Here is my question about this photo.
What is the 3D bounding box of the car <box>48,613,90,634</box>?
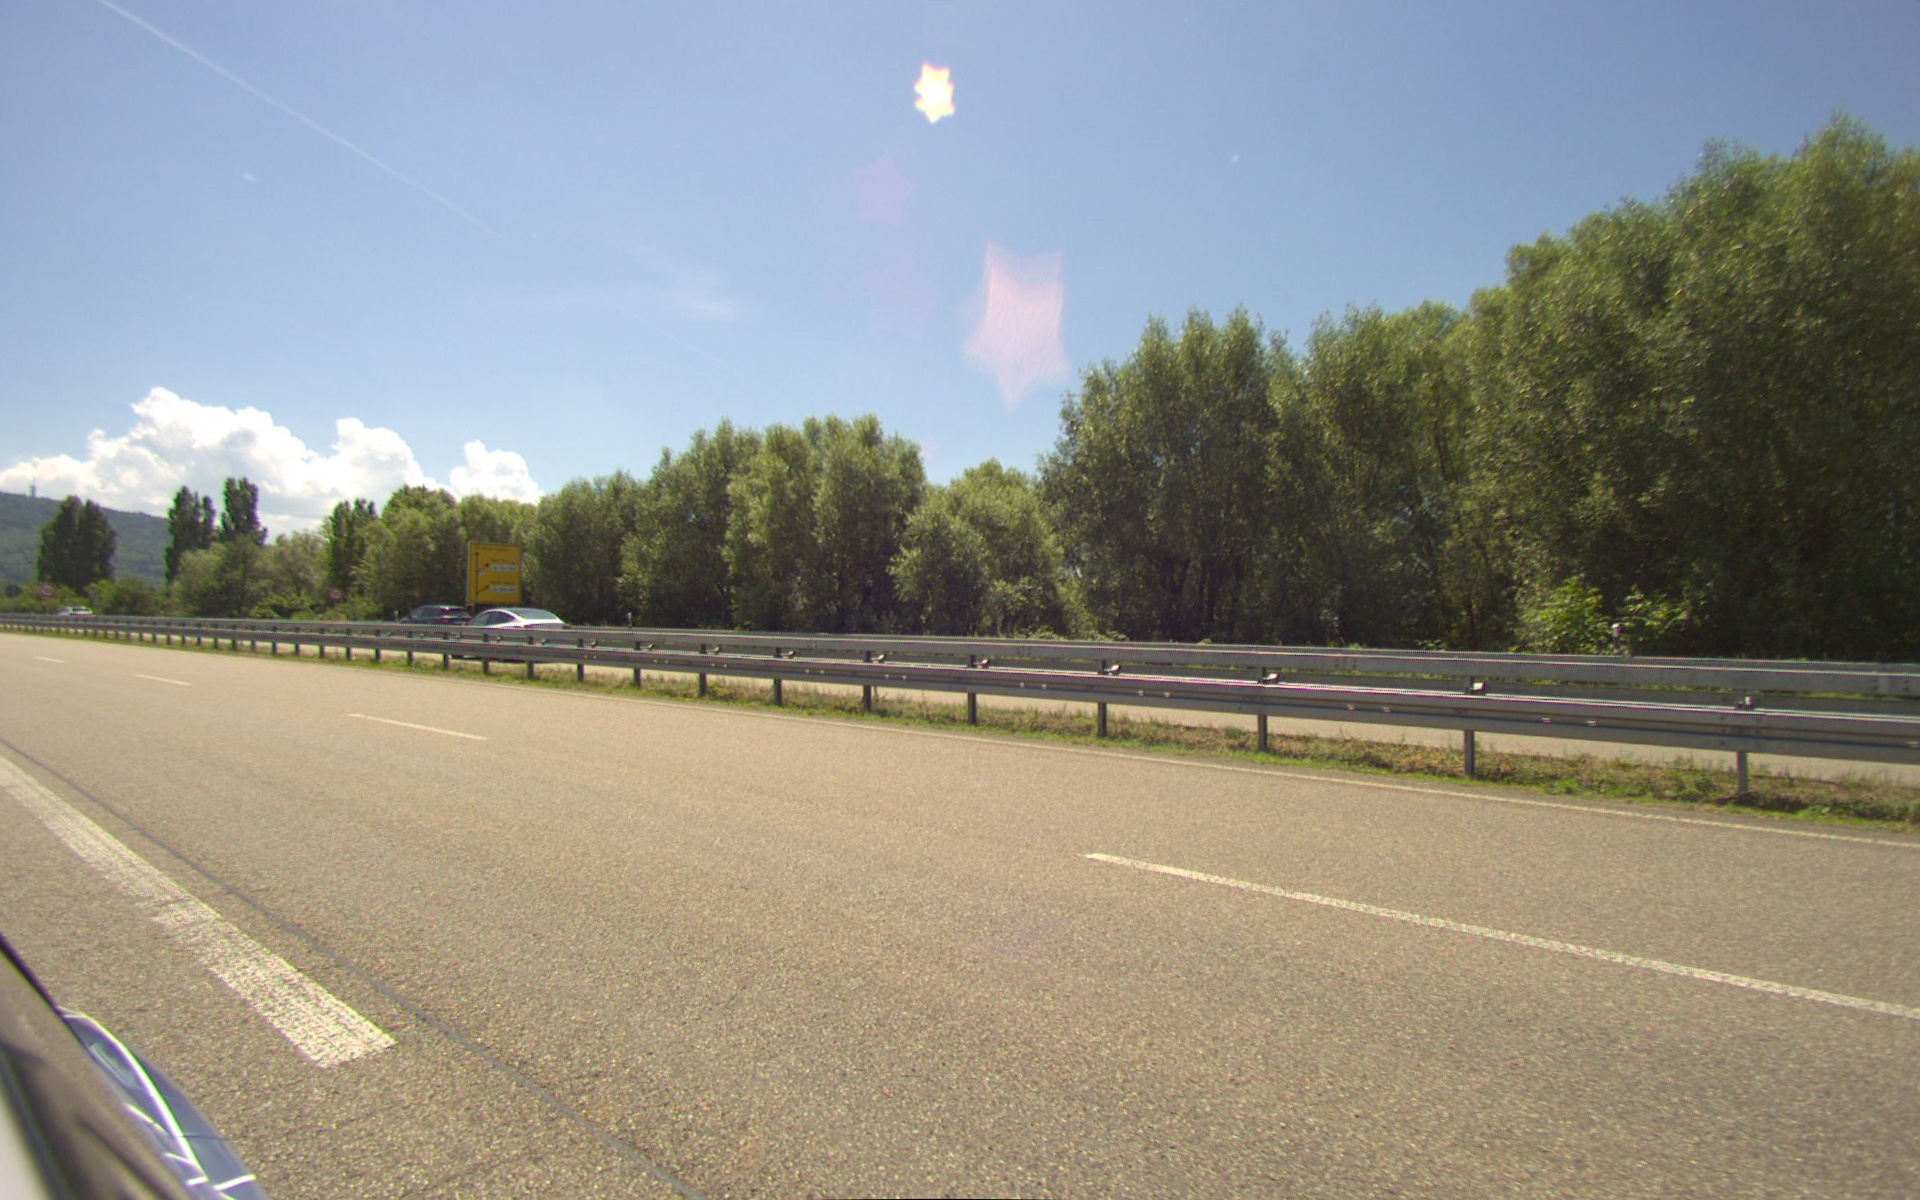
[{"bbox_3d":[-66.839,1.715,75.914,3.995,1.515,1.693,0,-1,39],"label":"car"}]

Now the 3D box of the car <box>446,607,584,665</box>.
[{"bbox_3d":[-12.428,0.957,28.204,3.995,1.500,1.899,-1,-1,39],"label":"car"}]

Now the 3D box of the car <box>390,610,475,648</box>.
[{"bbox_3d":[-22.569,1.212,43.256,4.068,1.563,1.673,-1,-1,37],"label":"car"}]
